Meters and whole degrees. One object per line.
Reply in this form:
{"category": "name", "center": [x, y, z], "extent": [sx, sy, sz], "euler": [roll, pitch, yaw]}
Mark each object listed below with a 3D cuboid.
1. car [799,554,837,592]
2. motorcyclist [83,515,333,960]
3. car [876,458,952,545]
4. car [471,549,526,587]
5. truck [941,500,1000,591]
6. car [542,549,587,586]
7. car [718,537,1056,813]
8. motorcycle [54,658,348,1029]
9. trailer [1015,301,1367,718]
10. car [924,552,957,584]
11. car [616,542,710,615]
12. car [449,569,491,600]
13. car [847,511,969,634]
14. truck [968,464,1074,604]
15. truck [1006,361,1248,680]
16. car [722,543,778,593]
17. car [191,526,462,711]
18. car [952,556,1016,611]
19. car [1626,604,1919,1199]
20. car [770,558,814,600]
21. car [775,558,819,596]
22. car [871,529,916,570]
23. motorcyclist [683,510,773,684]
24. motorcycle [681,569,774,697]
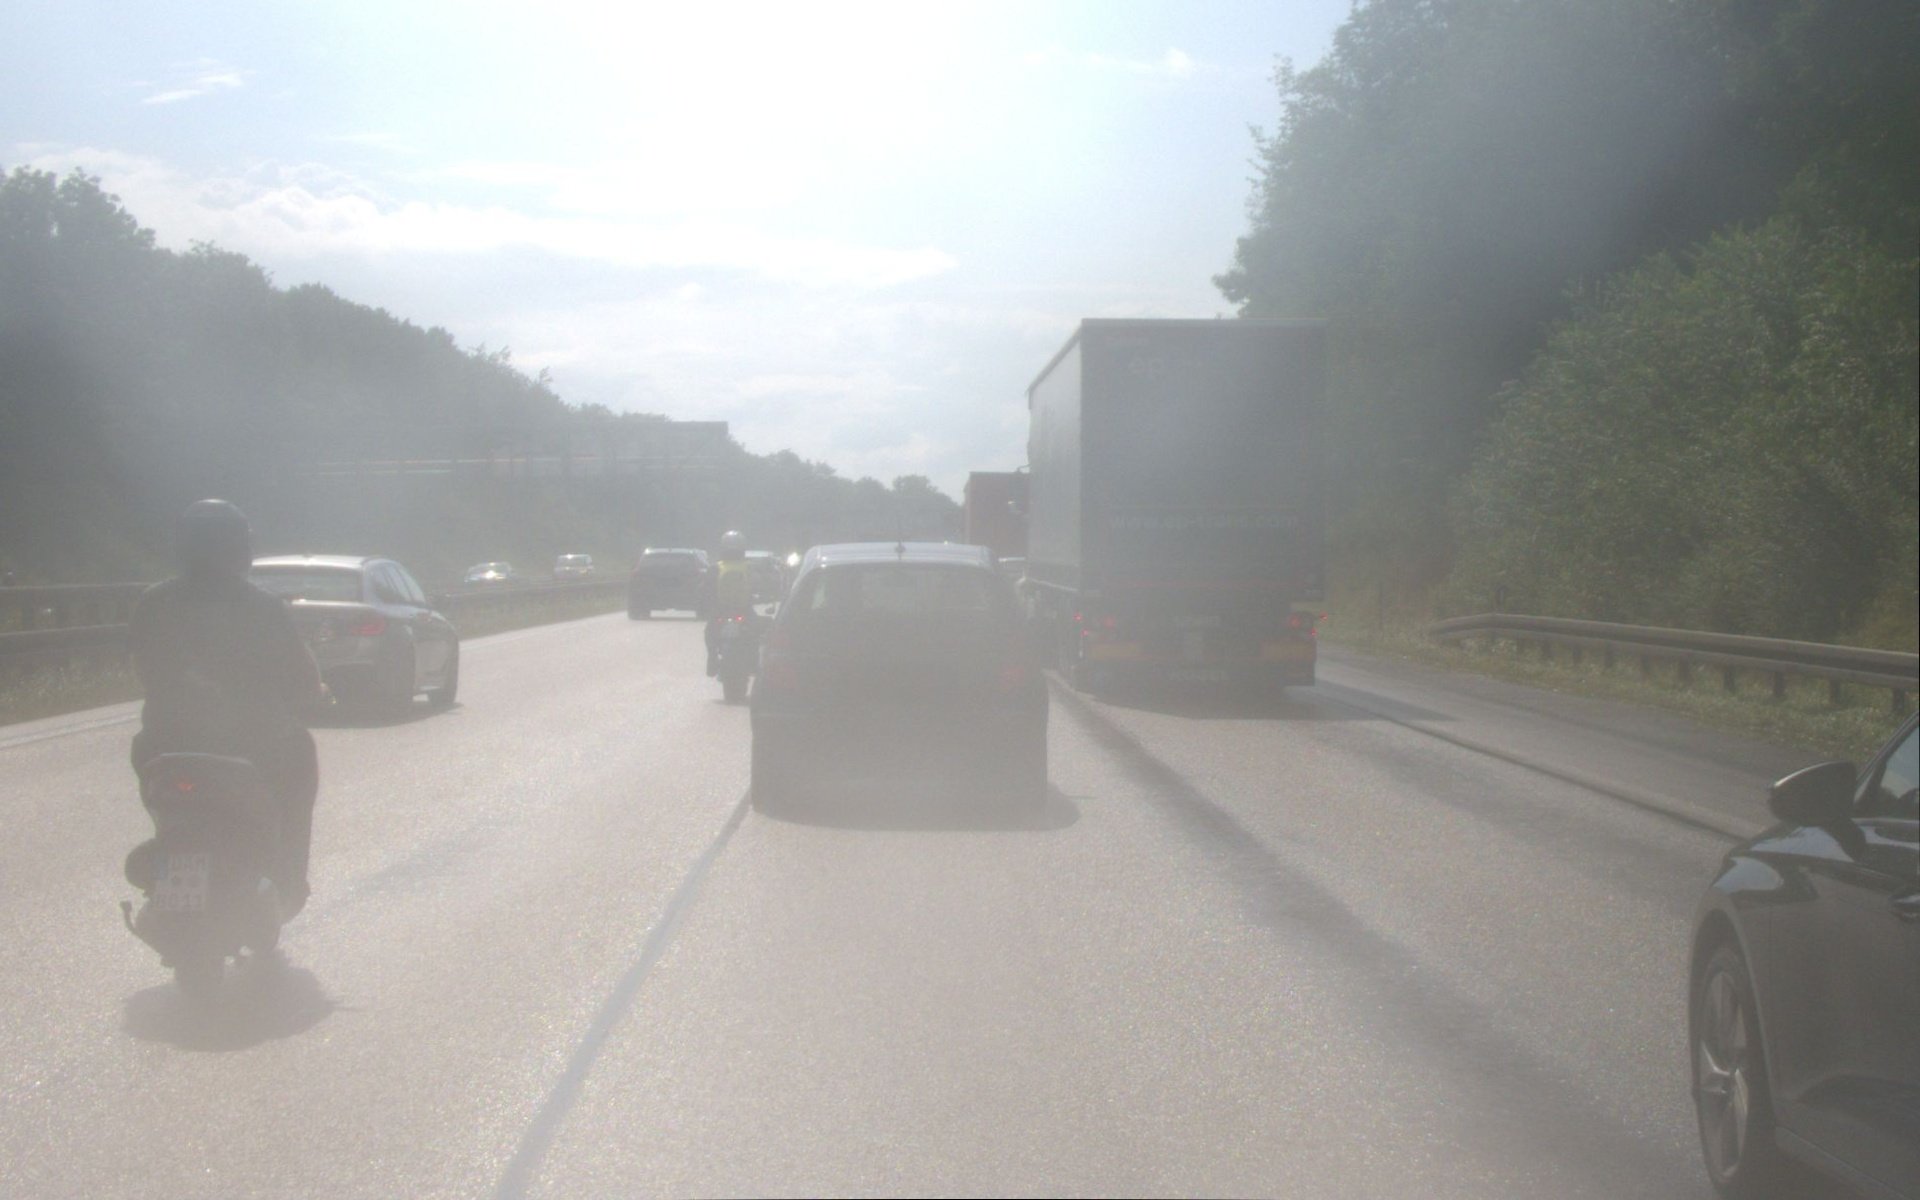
{"category": "car", "center": [-7.692, -1.451, 186.555], "extent": [1.993, 2.007, 4.000], "euler": [1, 0, -1]}
{"category": "motorcyclist", "center": [-2.533, 0.444, 11.666], "extent": [0.670, 1.437, 1.020], "euler": [1, 0, -4]}
{"category": "car", "center": [-1.073, -2.253, 79.187], "extent": [1.675, 1.929, 3.773], "euler": [0, 1, -1]}
{"category": "car", "center": [-19.939, -1.381, 148.565], "extent": [1.921, 1.575, 4.000], "euler": [-1, 1, -1]}
{"category": "truck", "center": [0.519, -2.863, 183.957], "extent": [2.882, 4.671, 12.659], "euler": [1, 0, -1]}
{"category": "car", "center": [-20.710, -1.699, 180.138], "extent": [1.924, 1.905, 4.289], "euler": [0, 1, -1]}
{"category": "car", "center": [-0.461, 0.403, 21.774], "extent": [1.915, 1.560, 4.314], "euler": [0, 1, -1]}
{"category": "motorcycle", "center": [-2.535, 0.776, 11.675], "extent": [0.676, 1.083, 1.982], "euler": [1, 1, -4]}
{"category": "trailer", "center": [2.503, -1.021, 42.640], "extent": [3.088, 4.298, 14.106], "euler": [0, 1, -1]}
{"category": "car", "center": [-1.244, -2.019, 219.664], "extent": [1.993, 2.007, 4.000], "euler": [1, 0, -2]}
{"category": "car", "center": [-6.860, -0.516, 79.763], "extent": [1.893, 1.622, 4.195], "euler": [0, 1, -1]}
{"category": "car", "center": [-24.521, -0.788, 172.188], "extent": [1.631, 1.477, 3.786], "euler": [0, 1, -1]}
{"category": "car", "center": [-0.915, -0.465, 58.927], "extent": [1.993, 2.007, 4.000], "euler": [1, 0, -2]}
{"category": "truck", "center": [1.922, -2.133, 112.780], "extent": [3.202, 4.389, 9.432], "euler": [0, 1, 0]}
{"category": "truck", "center": [2.319, -1.122, 49.809], "extent": [3.052, 4.310, 5.886], "euler": [1, 1, -1]}
{"category": "car", "center": [-6.867, -1.042, 112.544], "extent": [1.675, 1.591, 3.437], "euler": [0, 1, -1]}
{"category": "car", "center": [-5.818, 0.134, 32.036], "extent": [1.758, 1.589, 4.331], "euler": [0, 1, 0]}
{"category": "car", "center": [0.664, -0.479, 95.727], "extent": [1.675, 1.485, 3.437], "euler": [0, 1, -1]}
{"category": "car", "center": [2.599, 0.739, 6.449], "extent": [1.755, 1.391, 4.368], "euler": [0, 1, -1]}
{"category": "car", "center": [-8.131, -1.009, 166.576], "extent": [1.993, 2.007, 4.000], "euler": [1, 0, -1]}
{"category": "car", "center": [-6.663, -0.951, 140.558], "extent": [1.675, 1.485, 3.437], "euler": [0, 1, -1]}
{"category": "car", "center": [-2.477, -1.871, 128.061], "extent": [1.631, 1.485, 3.437], "euler": [0, 1, -1]}
{"category": "motorcyclist", "center": [-2.384, -0.036, 35.449], "extent": [0.821, 1.755, 1.390], "euler": [1, 0, -1]}
{"category": "motorcycle", "center": [-2.386, 0.317, 35.507], "extent": [0.819, 1.258, 2.117], "euler": [1, 1, -1]}
